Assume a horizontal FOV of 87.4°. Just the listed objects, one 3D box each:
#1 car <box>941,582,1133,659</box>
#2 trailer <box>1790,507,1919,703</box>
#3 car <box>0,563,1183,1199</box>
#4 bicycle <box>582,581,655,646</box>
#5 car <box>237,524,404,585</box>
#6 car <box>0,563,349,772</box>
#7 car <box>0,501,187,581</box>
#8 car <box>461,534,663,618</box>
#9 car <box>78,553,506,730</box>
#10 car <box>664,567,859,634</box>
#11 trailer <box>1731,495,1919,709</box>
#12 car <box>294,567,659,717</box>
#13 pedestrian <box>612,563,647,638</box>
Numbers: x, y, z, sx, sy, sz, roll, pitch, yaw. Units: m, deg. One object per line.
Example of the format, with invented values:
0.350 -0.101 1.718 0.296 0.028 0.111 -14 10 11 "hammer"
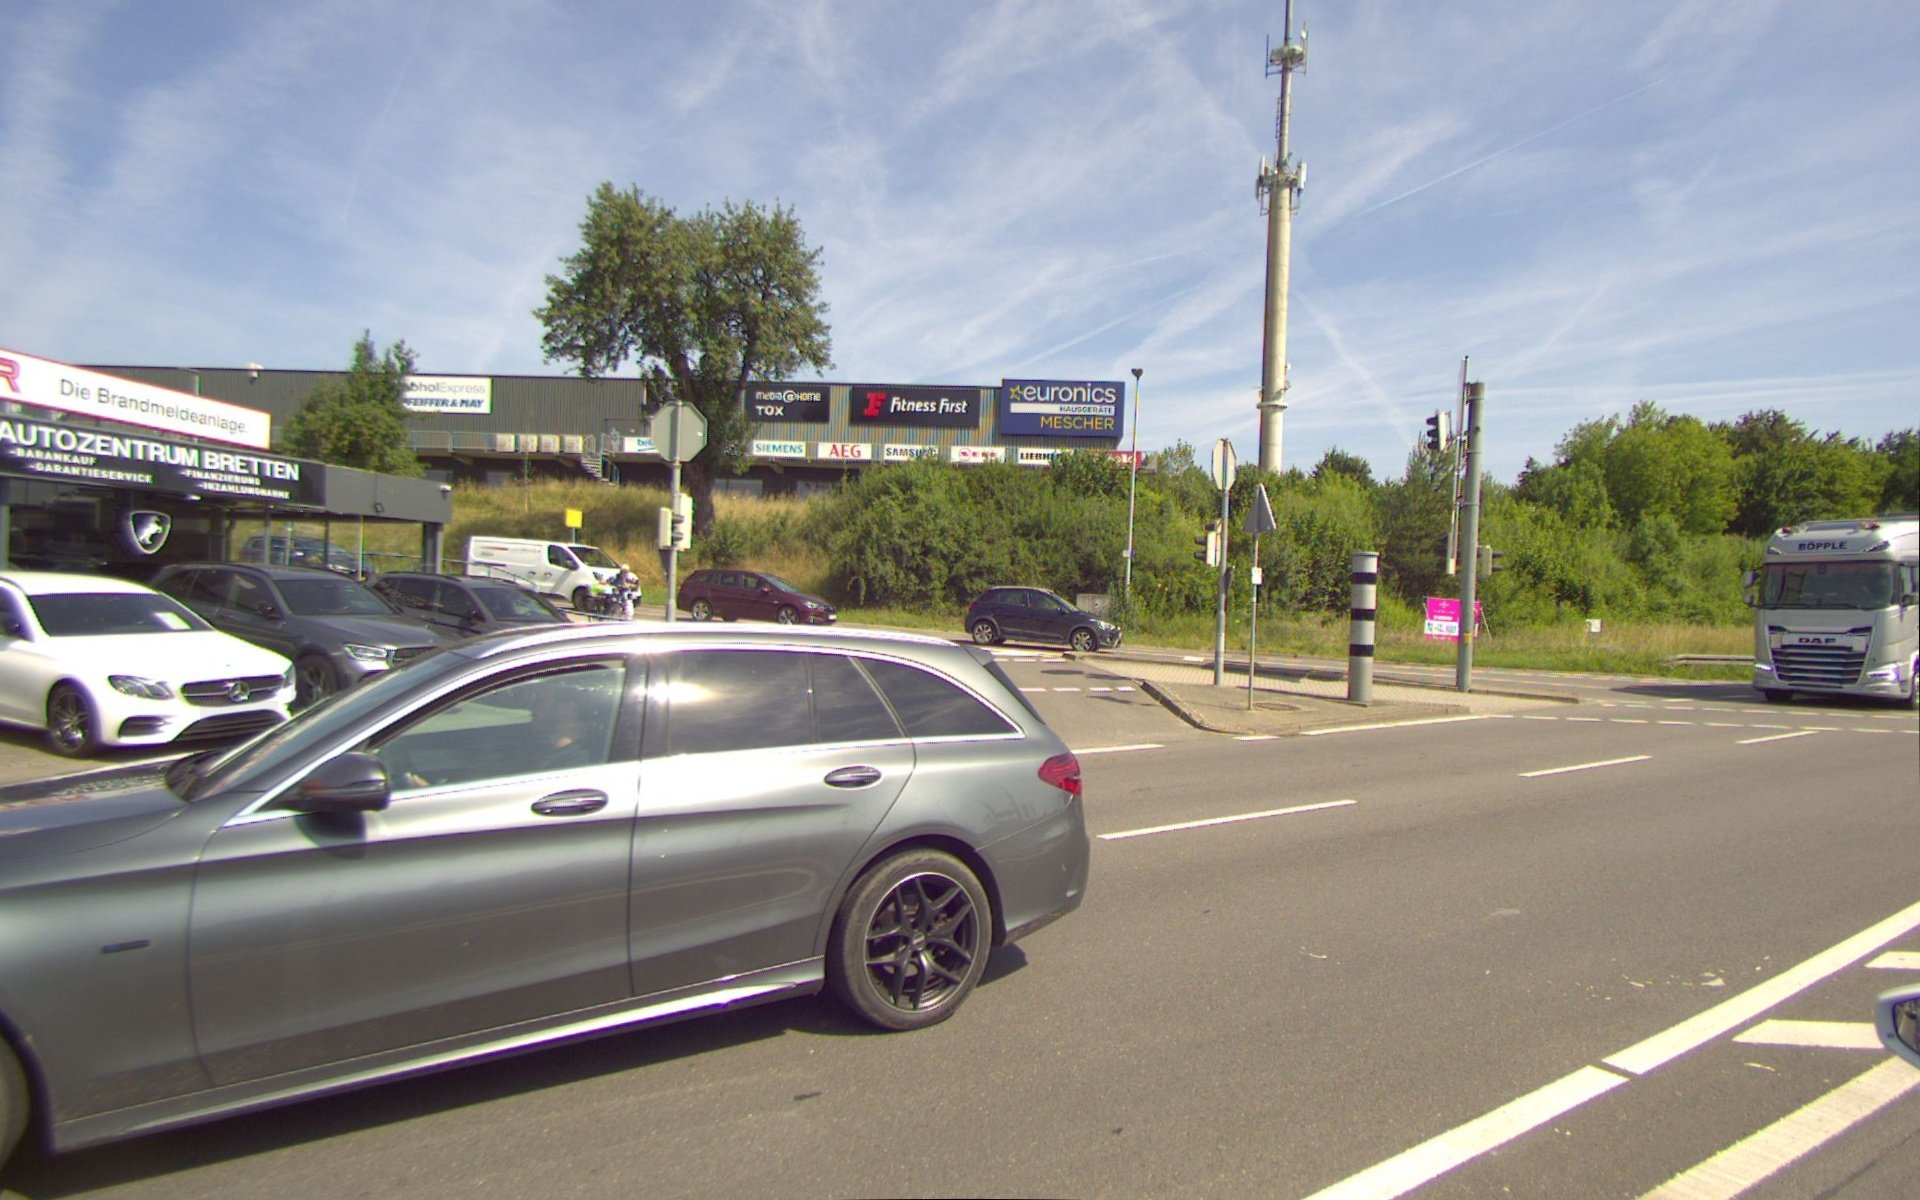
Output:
2.009 0.470 25.761 4.543 1.548 1.916 4 2 15 "car"
25.839 0.290 26.164 13.734 4.203 2.675 2 0 -34 "trailer"
-1.447 0.766 3.880 4.539 1.623 1.910 1 -1 -33 "car"
-7.209 0.258 21.113 0.587 1.042 2.193 2 7 -42 "bicycle"
-20.370 -1.437 32.034 4.419 1.583 2.001 4 0 16 "car"
-8.847 0.521 10.255 4.624 1.533 1.955 5 2 20 "car"
-21.146 -1.375 23.766 1.960 1.583 4.072 4 0 17 "car"
-11.906 -0.741 30.091 5.404 2.069 2.069 4 2 15 "car"
-8.339 0.428 12.592 4.702 1.647 1.932 5 1 18 "car"
-5.488 0.012 27.891 4.874 1.437 1.950 4 0 15 "car"
19.926 0.114 22.227 6.114 4.159 2.630 2 0 -33 "trailer"
-6.968 0.518 14.552 4.647 1.647 1.890 4 2 16 "car"
-7.022 0.017 21.339 0.492 1.555 0.380 2 5 -42 "pedestrian"
